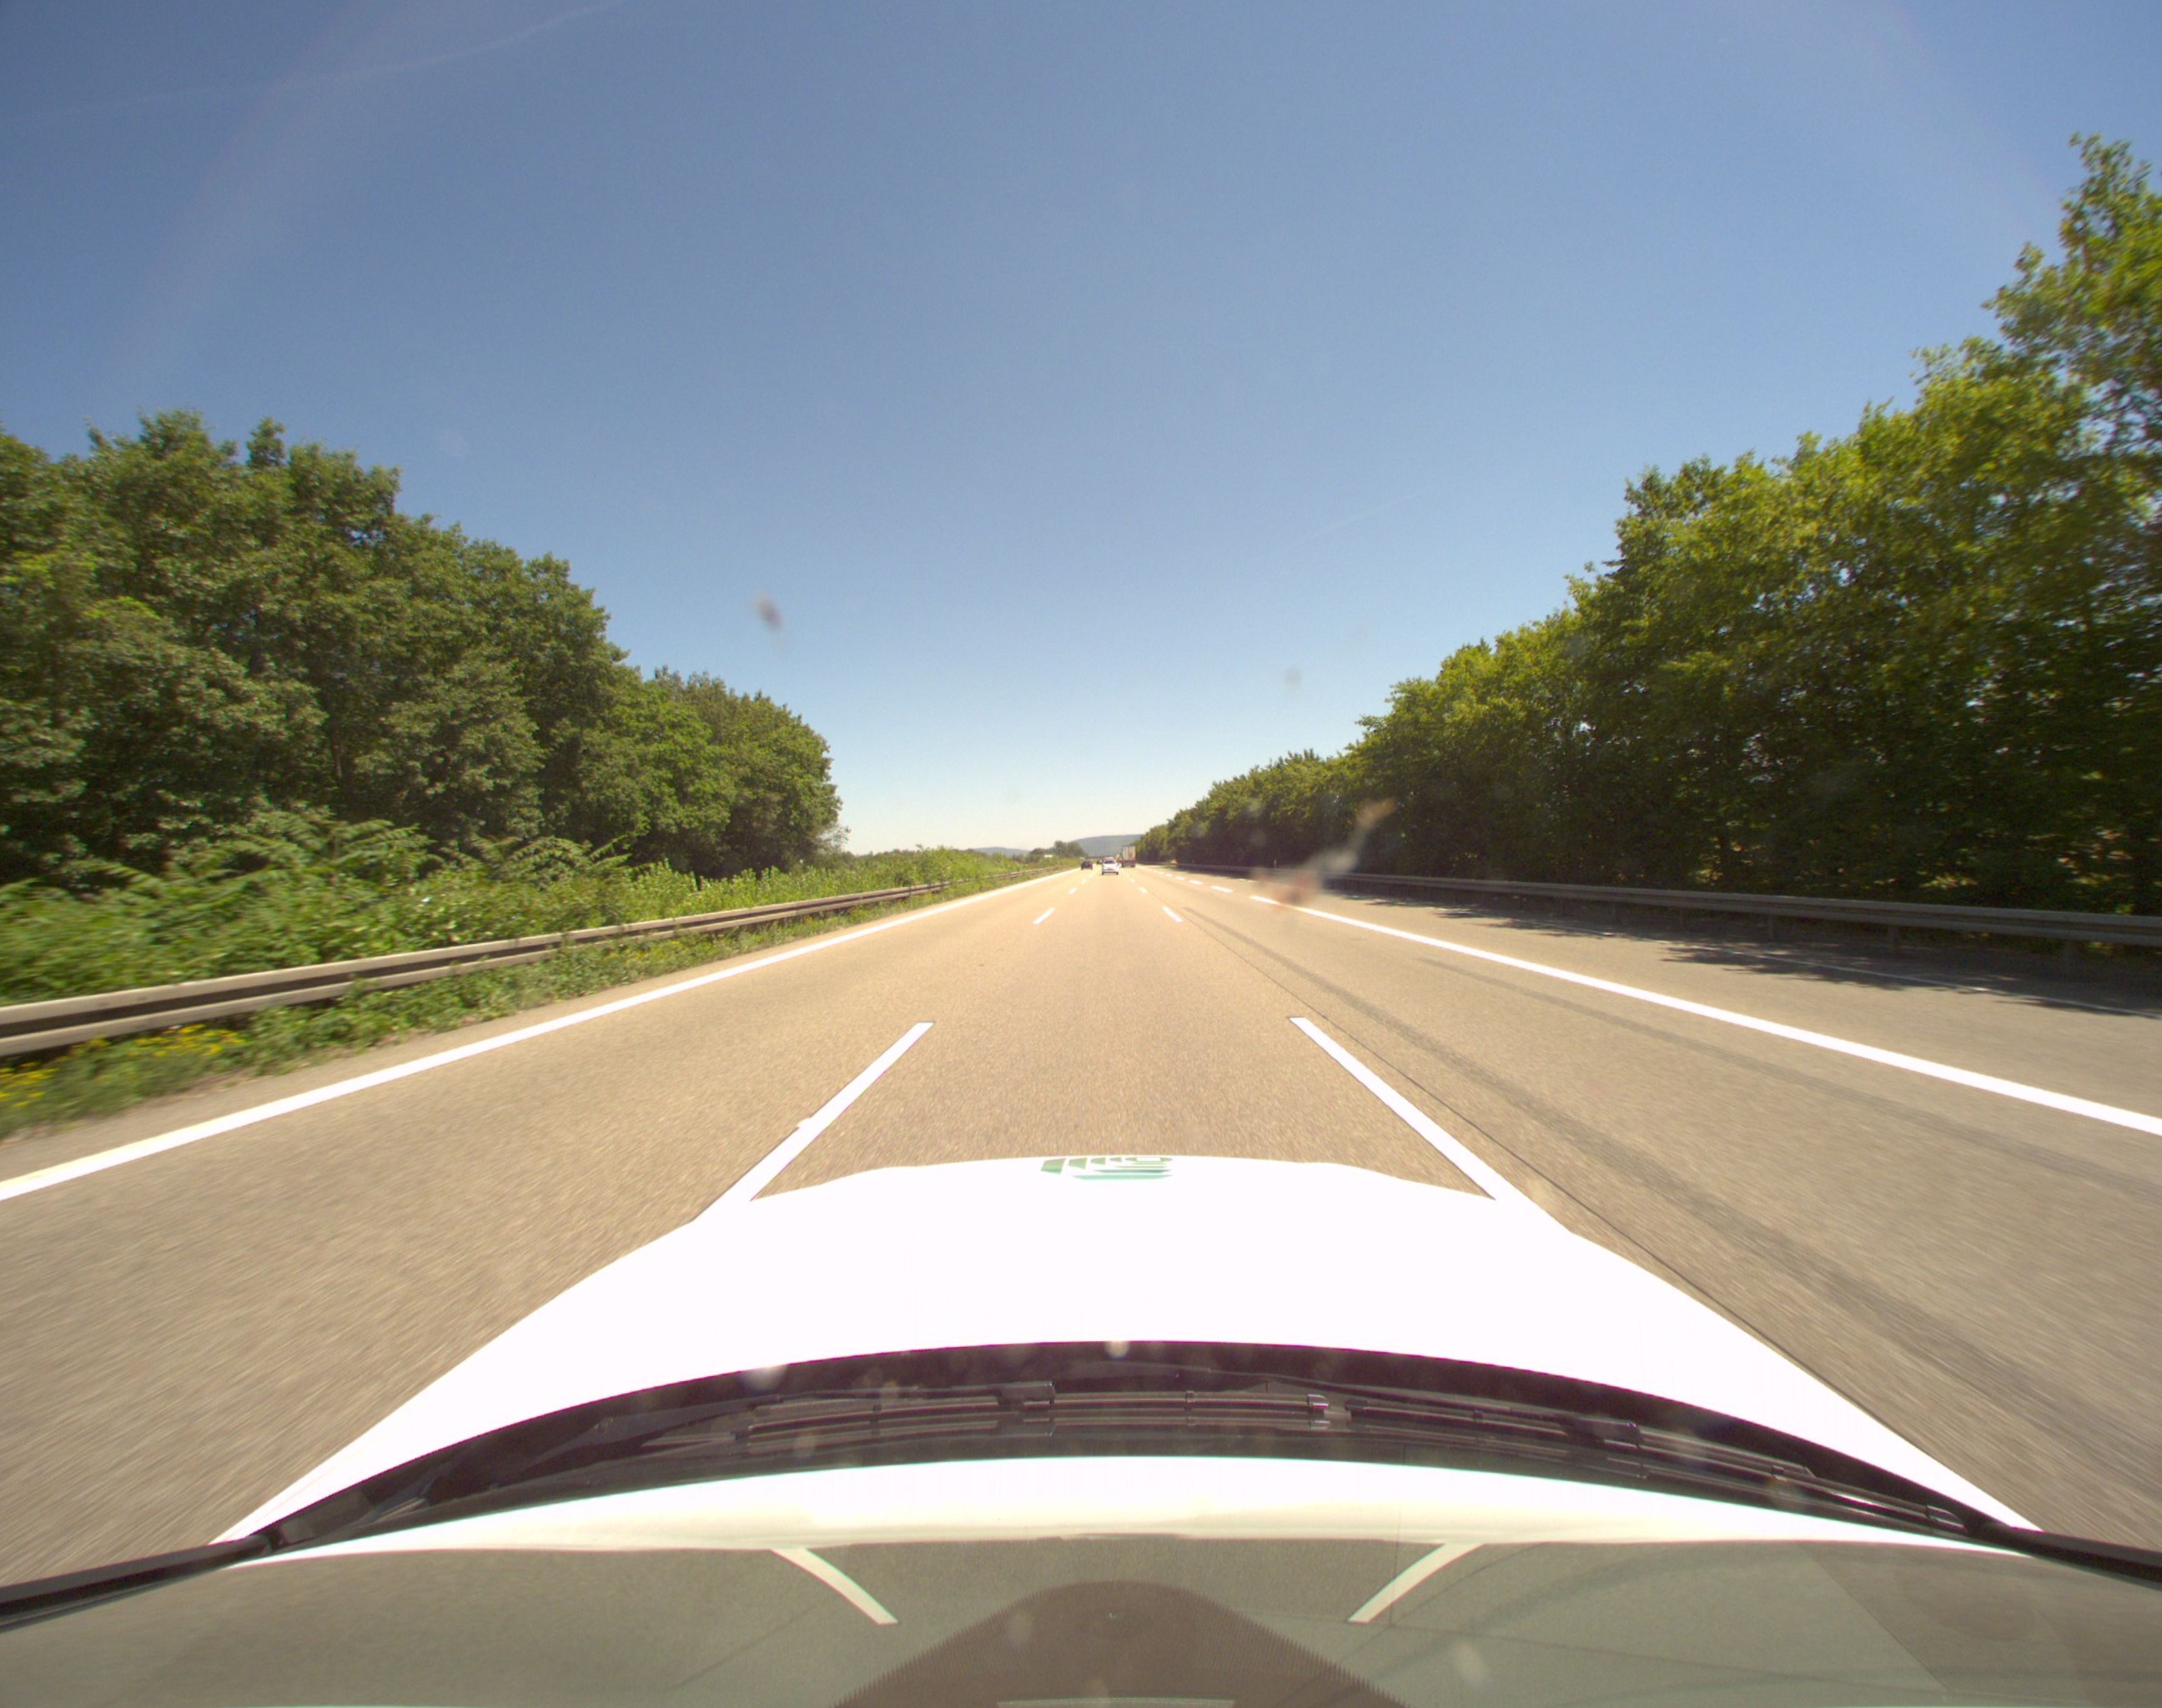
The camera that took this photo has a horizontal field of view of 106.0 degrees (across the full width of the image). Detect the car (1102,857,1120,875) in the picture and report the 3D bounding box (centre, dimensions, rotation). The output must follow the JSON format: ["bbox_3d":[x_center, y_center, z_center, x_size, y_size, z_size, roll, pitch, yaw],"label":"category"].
[{"bbox_3d":[2.992,1.191,82.599,1.726,1.684,4.001,-2,0,1],"label":"car"}]

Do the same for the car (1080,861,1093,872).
[{"bbox_3d":[0.852,1.917,128.467,1.986,1.712,4.001,0,-1,1],"label":"car"}]

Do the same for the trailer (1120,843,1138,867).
[{"bbox_3d":[9.212,0.218,154.977,3.203,4.345,13.644,0,-1,4],"label":"trailer"}]

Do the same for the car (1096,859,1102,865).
[{"bbox_3d":[5.280,2.351,240.457,1.788,1.551,4.001,-1,-1,2],"label":"car"}]

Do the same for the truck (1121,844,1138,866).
[{"bbox_3d":[9.757,0.281,162.143,3.203,4.345,6.598,0,-1,4],"label":"truck"}]
